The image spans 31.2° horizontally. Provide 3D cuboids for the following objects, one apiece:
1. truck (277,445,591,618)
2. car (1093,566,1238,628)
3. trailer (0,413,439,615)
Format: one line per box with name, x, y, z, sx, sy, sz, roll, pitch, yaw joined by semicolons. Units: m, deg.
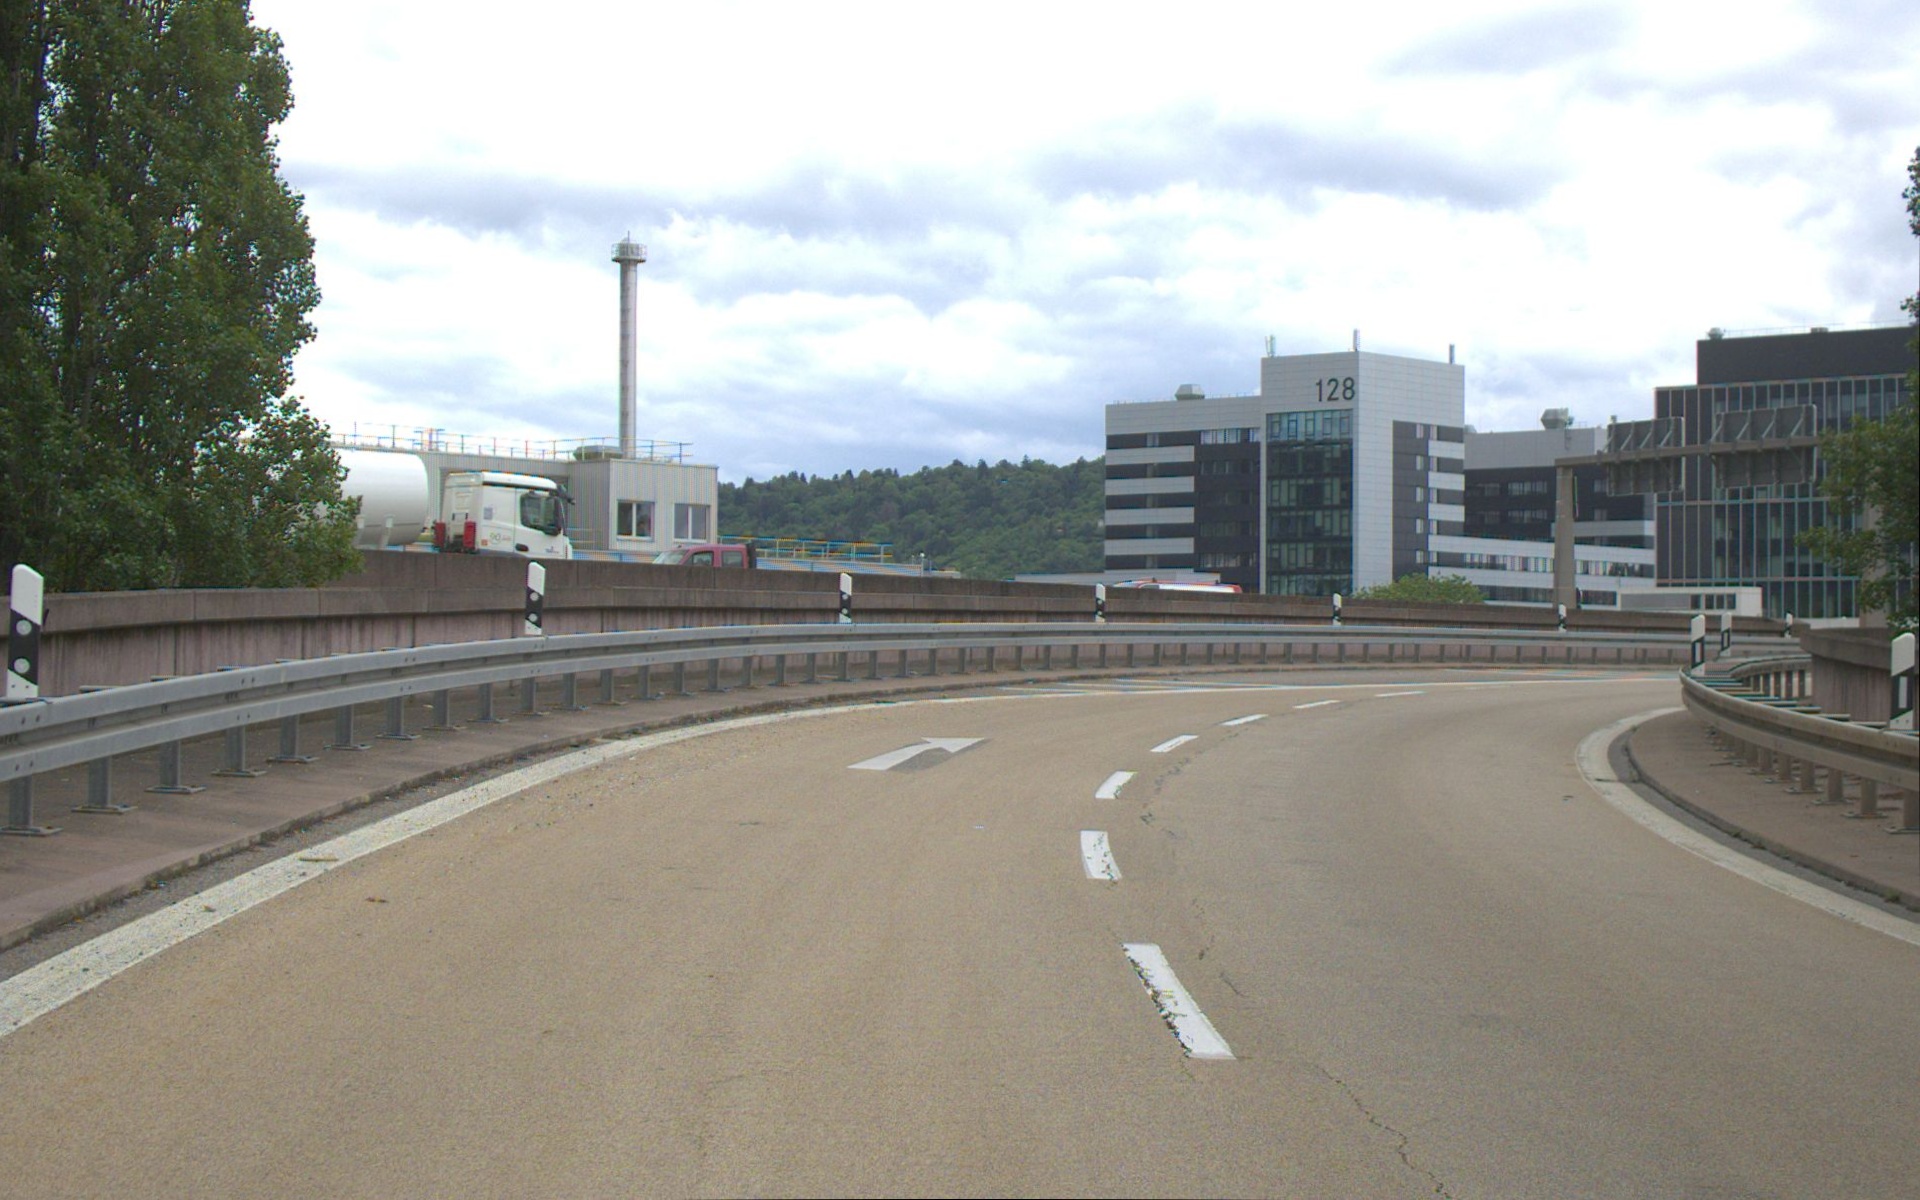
truck;-11.207;-1.390;73.333;5.945;3.419;2.778;2;-1;-30
car;5.750;-0.077;96.151;3.637;1.513;1.689;2;3;-28
trailer;-16.434;-1.691;70.266;11.117;3.725;2.801;2;-1;-30
